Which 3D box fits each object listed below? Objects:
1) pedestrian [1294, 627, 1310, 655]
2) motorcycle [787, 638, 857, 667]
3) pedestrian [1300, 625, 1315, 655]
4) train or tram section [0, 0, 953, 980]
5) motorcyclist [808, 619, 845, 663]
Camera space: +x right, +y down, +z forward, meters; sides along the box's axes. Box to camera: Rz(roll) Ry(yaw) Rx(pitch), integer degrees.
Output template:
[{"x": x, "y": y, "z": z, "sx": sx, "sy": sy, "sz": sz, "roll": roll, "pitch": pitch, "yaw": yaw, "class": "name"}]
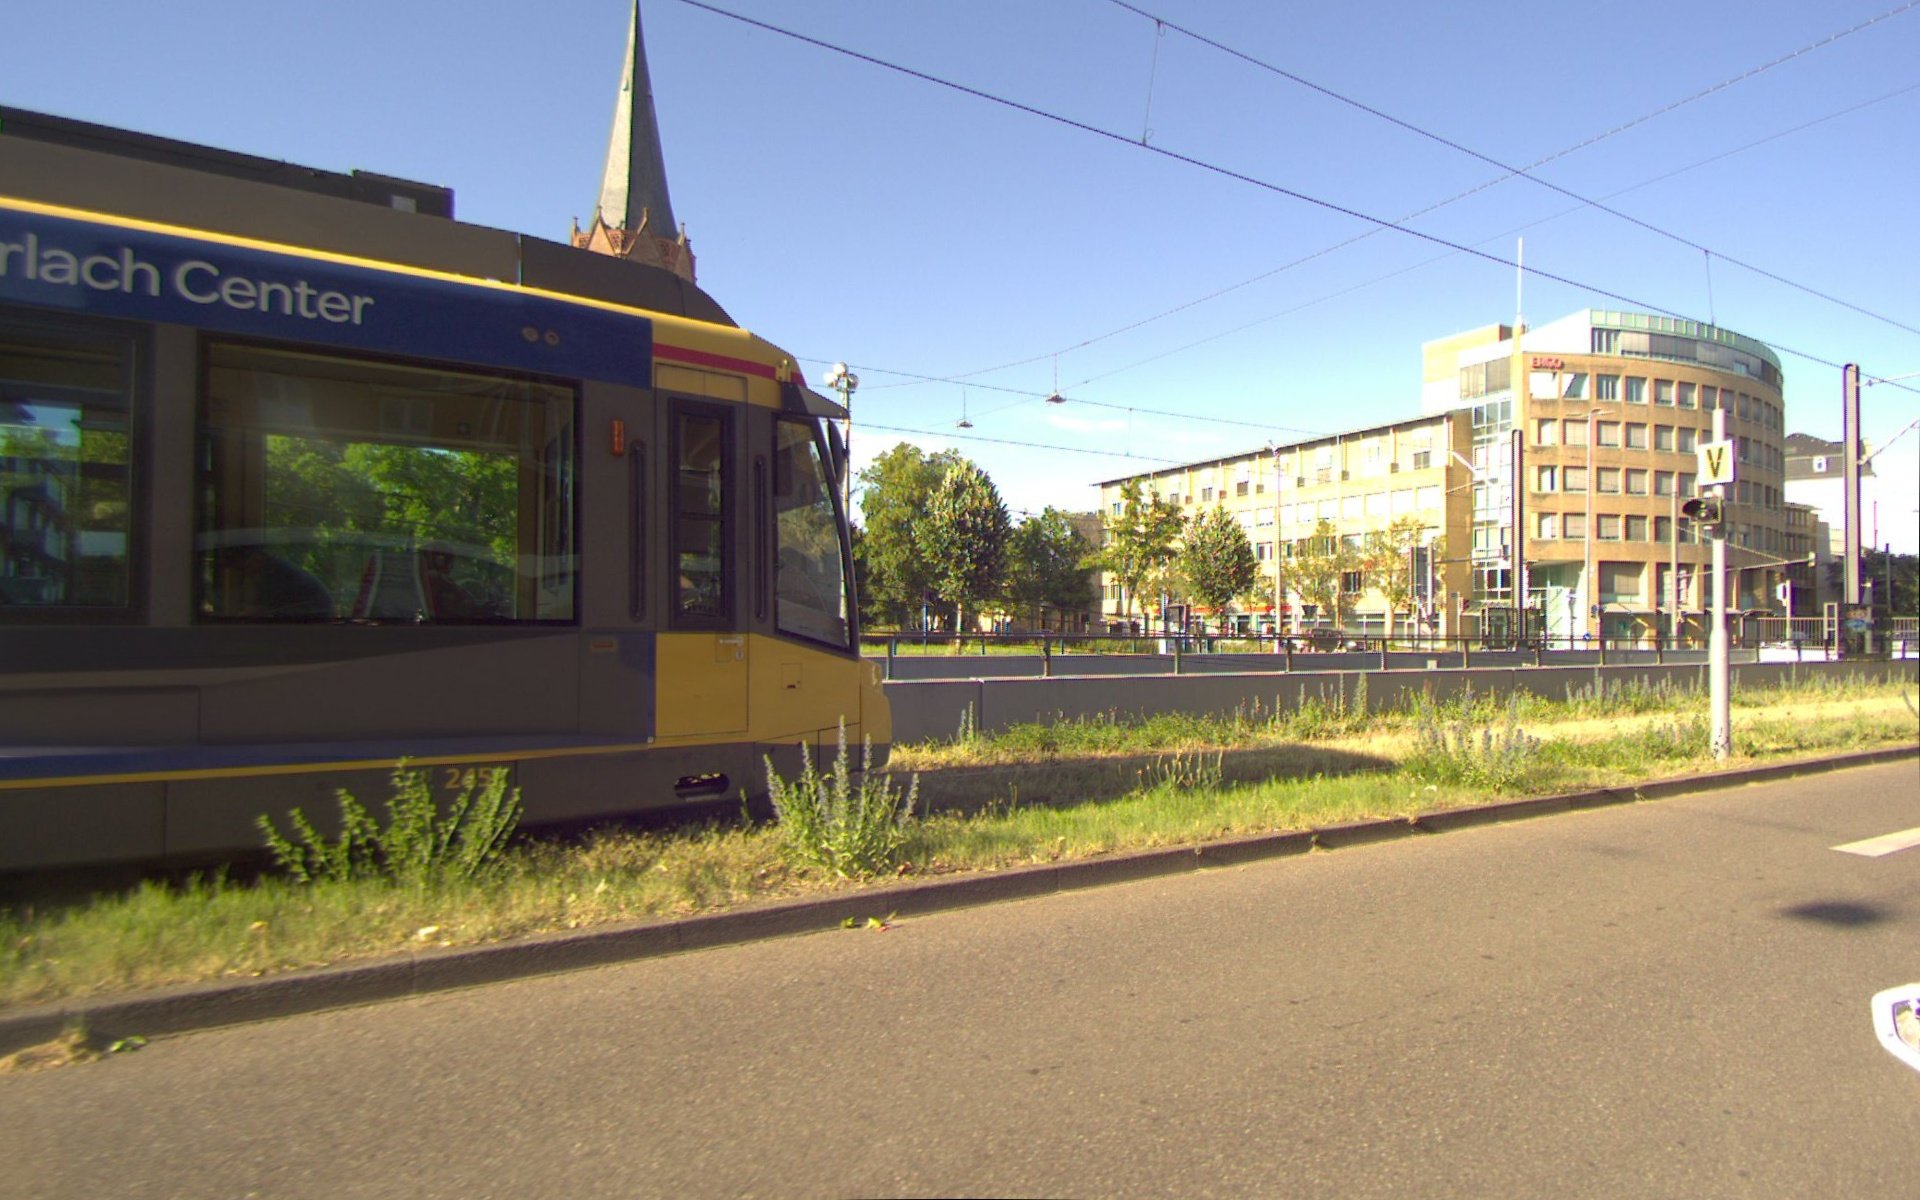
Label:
[{"x": 18.440, "y": 2.199, "z": 54.145, "sx": 0.484, "sy": 1.447, "sz": 0.609, "roll": 1, "pitch": 0, "yaw": -30, "class": "pedestrian"}, {"x": -4.344, "y": 1.662, "z": 31.640, "sx": 2.118, "sy": 0.861, "sz": 0.511, "roll": 2, "pitch": 0, "yaw": -29, "class": "motorcycle"}, {"x": 18.486, "y": 2.141, "z": 53.413, "sx": 0.561, "sy": 1.552, "sz": 0.440, "roll": 1, "pitch": 0, "yaw": -30, "class": "pedestrian"}, {"x": -5.387, "y": -0.517, "z": 4.688, "sx": 10.680, "sy": 3.949, "sz": 2.937, "roll": 2, "pitch": 0, "yaw": -32, "class": "train or tram section"}, {"x": -4.228, "y": 1.295, "z": 31.738, "sx": 0.863, "sy": 1.355, "sz": 0.879, "roll": 1, "pitch": 0, "yaw": -29, "class": "motorcyclist"}]
